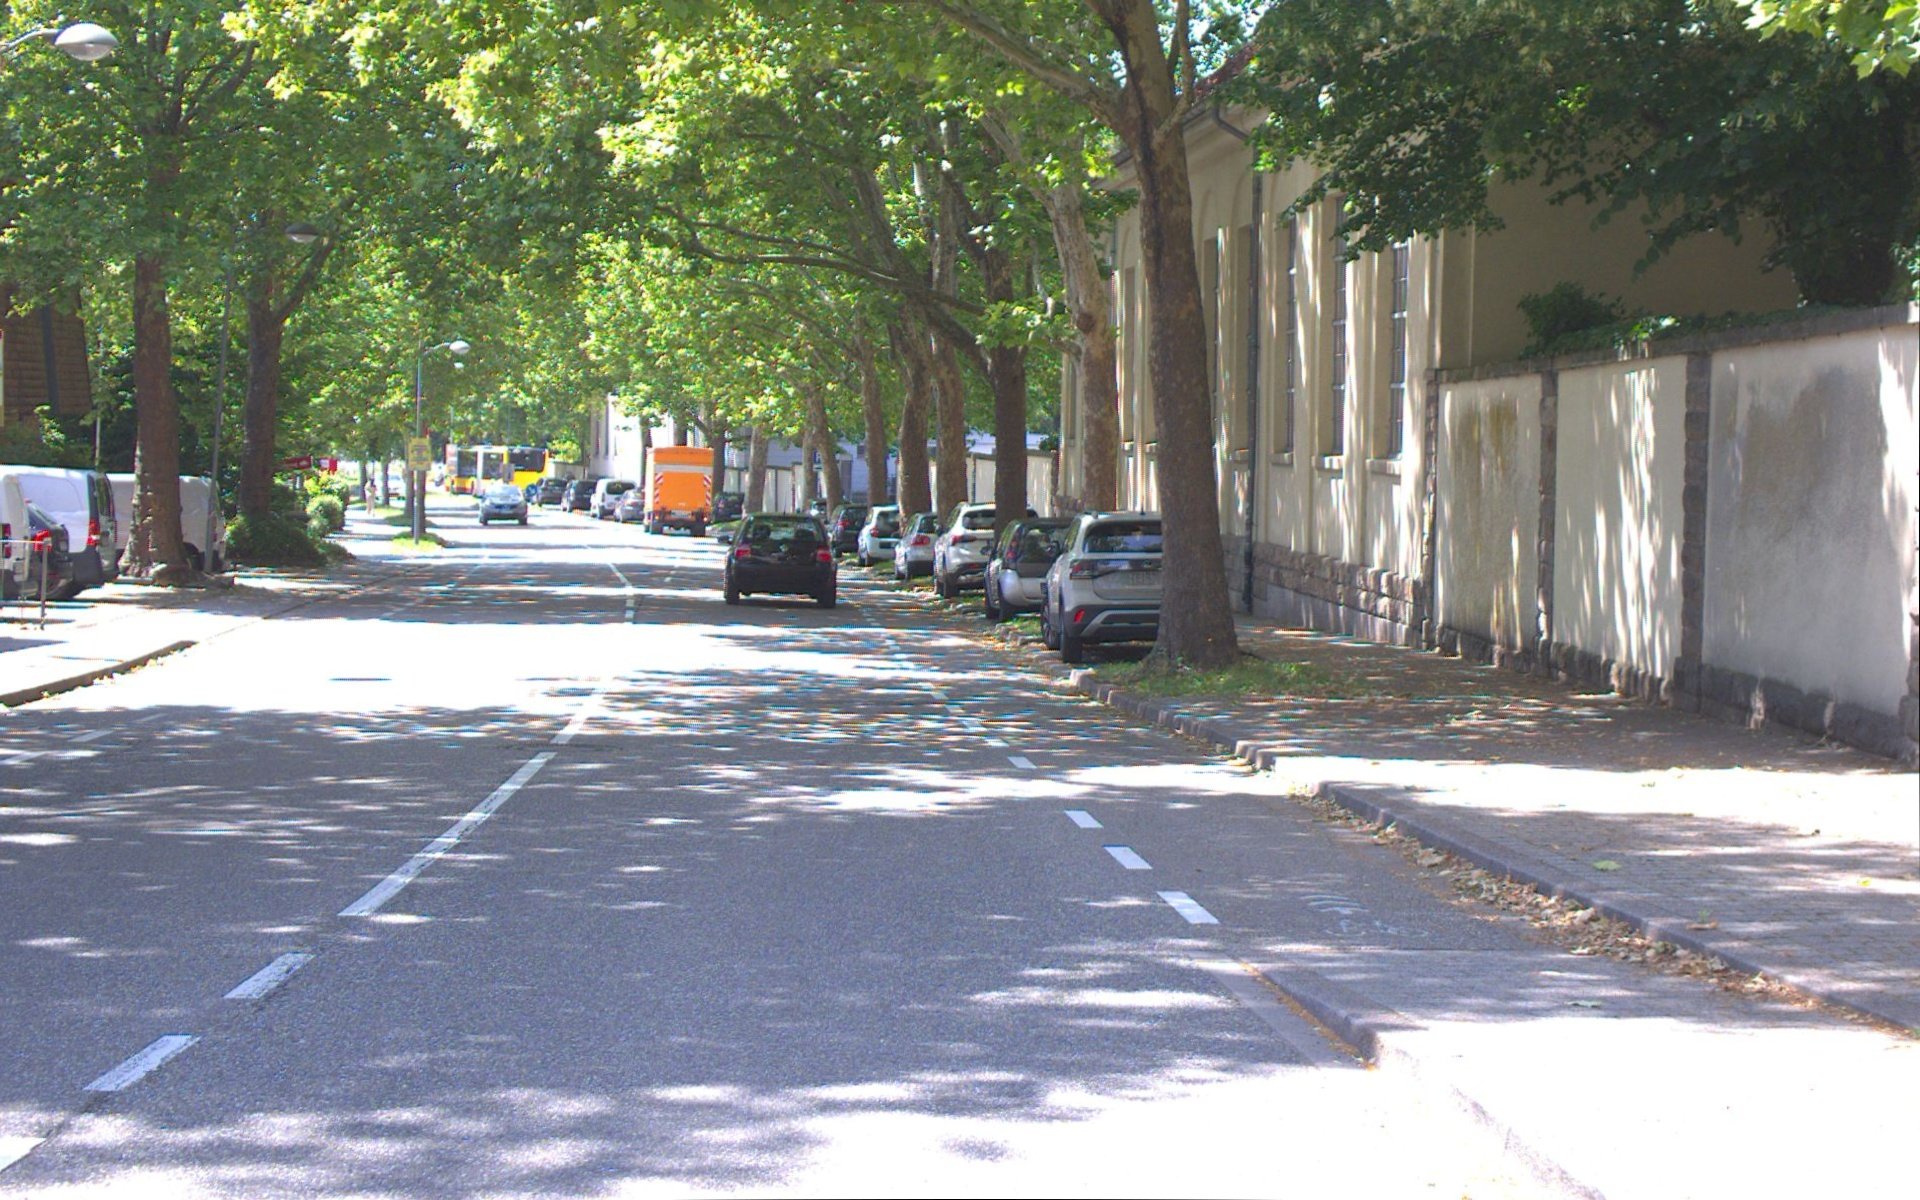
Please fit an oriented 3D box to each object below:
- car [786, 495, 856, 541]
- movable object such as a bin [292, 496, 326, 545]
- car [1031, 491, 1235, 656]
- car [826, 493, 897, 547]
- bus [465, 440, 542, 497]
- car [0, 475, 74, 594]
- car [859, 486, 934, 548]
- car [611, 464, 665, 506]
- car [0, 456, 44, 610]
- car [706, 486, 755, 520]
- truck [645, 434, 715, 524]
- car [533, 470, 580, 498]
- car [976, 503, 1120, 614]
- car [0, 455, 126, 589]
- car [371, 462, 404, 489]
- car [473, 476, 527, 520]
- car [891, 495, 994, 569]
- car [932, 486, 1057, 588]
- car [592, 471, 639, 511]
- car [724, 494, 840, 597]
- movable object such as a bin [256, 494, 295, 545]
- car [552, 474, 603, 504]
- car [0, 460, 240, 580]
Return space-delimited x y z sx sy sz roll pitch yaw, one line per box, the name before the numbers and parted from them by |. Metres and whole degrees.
car | -4.374 -2.579 107.872 1.766 1.369 3.731 -1 2 -8
movable object such as a bin | -14.087 -1.728 74.356 0.623 1.044 0.620 0 2 0
car | 1.803 -0.348 37.212 1.741 1.552 4.781 -2 3 -2
car | -2.841 -2.312 98.241 1.766 1.460 3.876 -1 2 -5
bus | -26.160 -7.478 196.625 2.663 3.139 11.202 -1 2 -16
car | -13.876 -0.927 45.362 3.986 1.510 1.869 2 2 -6
car | -1.600 -2.090 85.602 1.577 1.460 3.876 -1 2 -5
car | -13.522 -4.808 144.177 1.879 1.680 4.001 0 1 -11
car | -13.093 -0.866 40.861 3.986 1.786 1.869 2 2 -6
car | -9.566 -4.045 143.165 1.766 1.369 3.731 0 2 -8
truck | -10.129 -4.311 123.954 2.370 3.123 5.770 0 1 -6
car | -20.422 -5.894 174.027 1.766 1.369 3.731 -2 2 -16
car | 1.205 -0.627 48.813 1.621 1.434 4.434 -1 2 -4
car | -14.028 -1.140 47.948 4.422 1.798 1.904 2 2 -6
car | -31.766 -6.913 190.778 1.710 1.442 4.059 -1 2 -11
car | -18.335 -4.048 136.882 1.993 1.660 4.001 0 1 -10
car | -0.393 -1.421 71.137 1.766 1.428 3.876 -1 2 -5
car | 0.562 -1.145 60.489 1.807 1.683 4.753 -1 2 -4
car | -15.190 -4.774 151.341 1.879 1.680 4.001 0 1 -9
car | -2.828 -0.884 54.020 1.711 1.442 4.059 0 3 -4
movable object such as a bin | -14.807 -1.743 74.378 0.734 1.074 0.701 0 2 -4
car | -18.263 -5.302 163.888 1.766 1.369 3.731 -2 2 -16
car | -13.935 -1.318 56.000 4.127 1.798 1.904 2 2 -6
